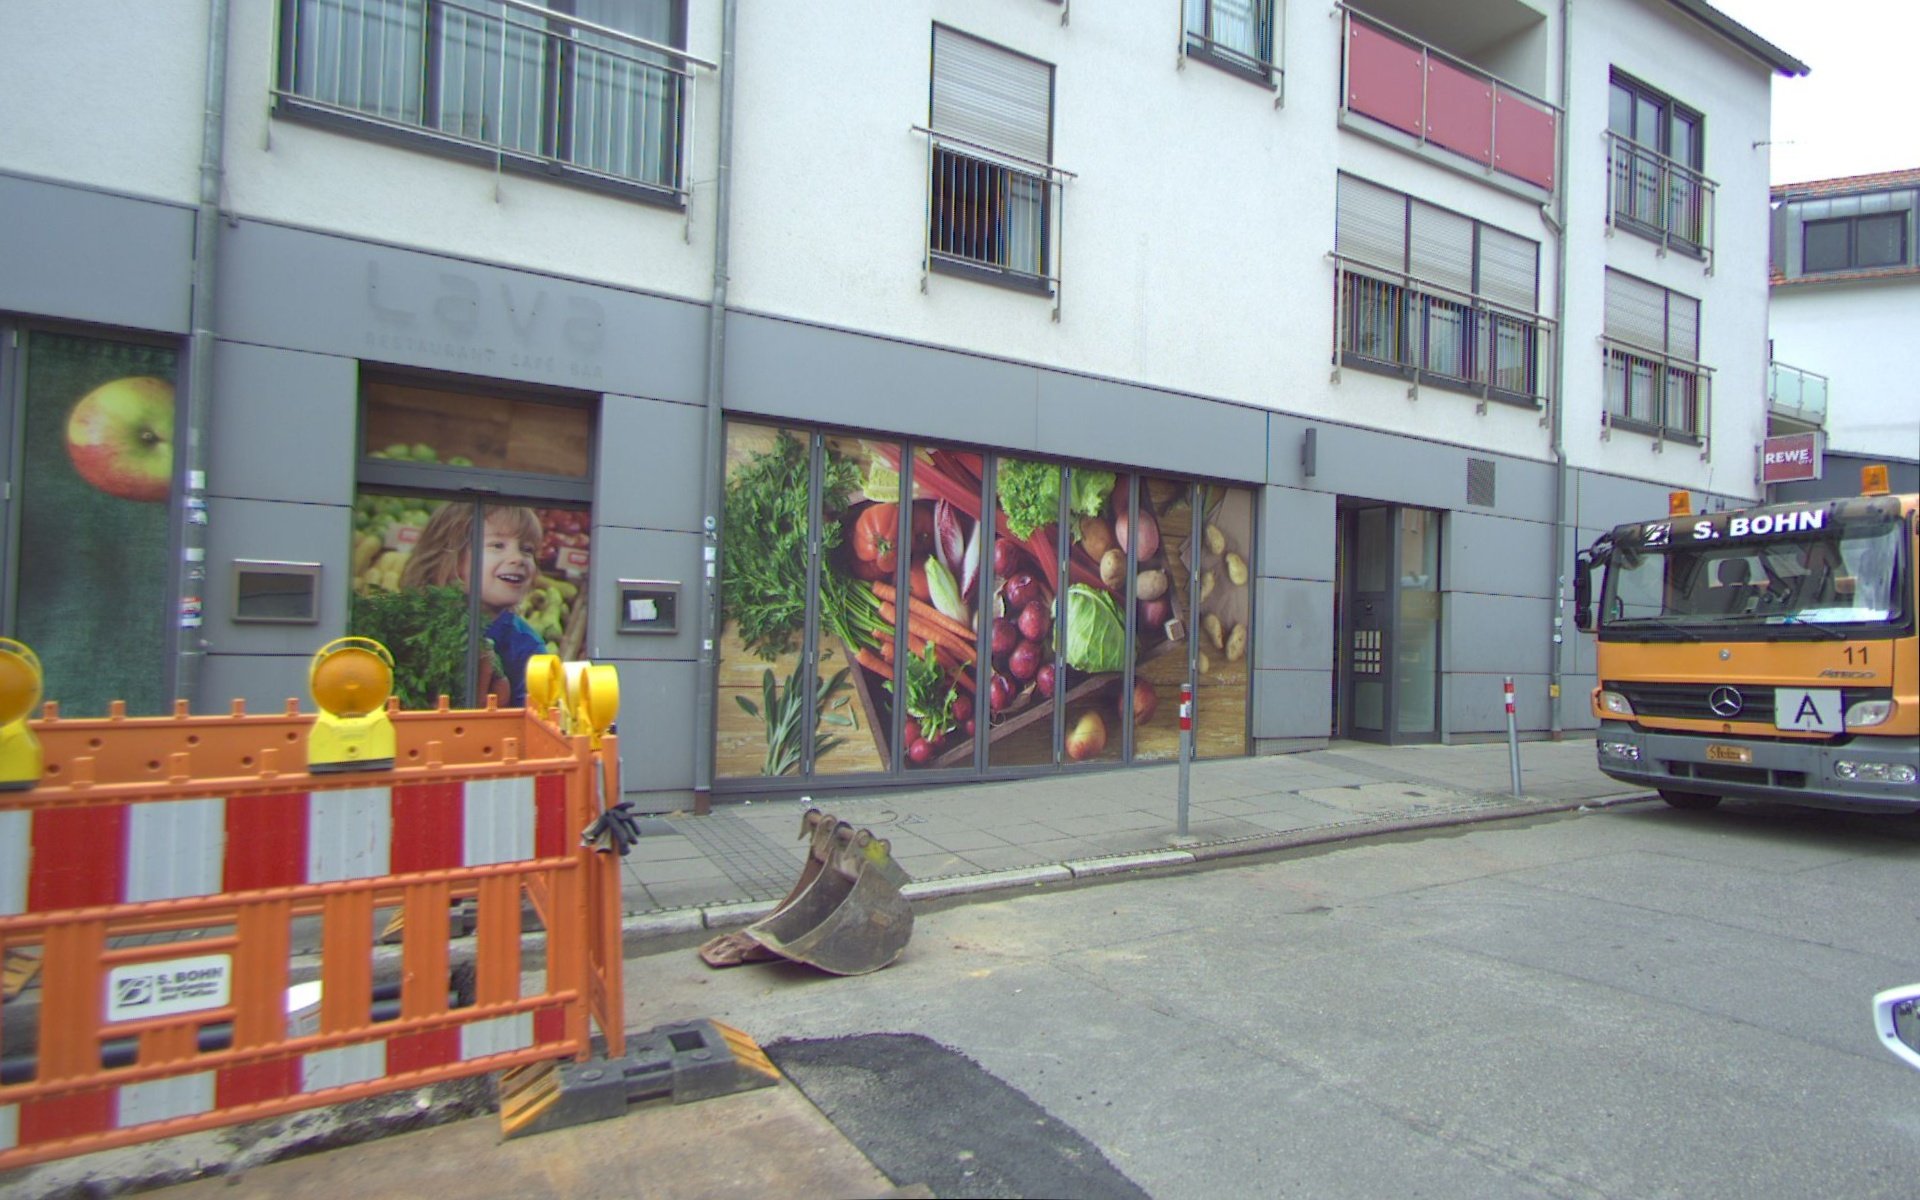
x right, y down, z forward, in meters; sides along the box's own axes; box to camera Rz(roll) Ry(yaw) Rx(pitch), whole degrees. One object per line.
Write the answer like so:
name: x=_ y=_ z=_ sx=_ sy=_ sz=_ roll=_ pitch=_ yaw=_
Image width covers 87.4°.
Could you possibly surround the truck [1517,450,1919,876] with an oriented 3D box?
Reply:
truck: x=8.590 y=0.499 z=9.258 sx=6.757 sy=2.761 sz=2.722 roll=1 pitch=-2 yaw=-26
